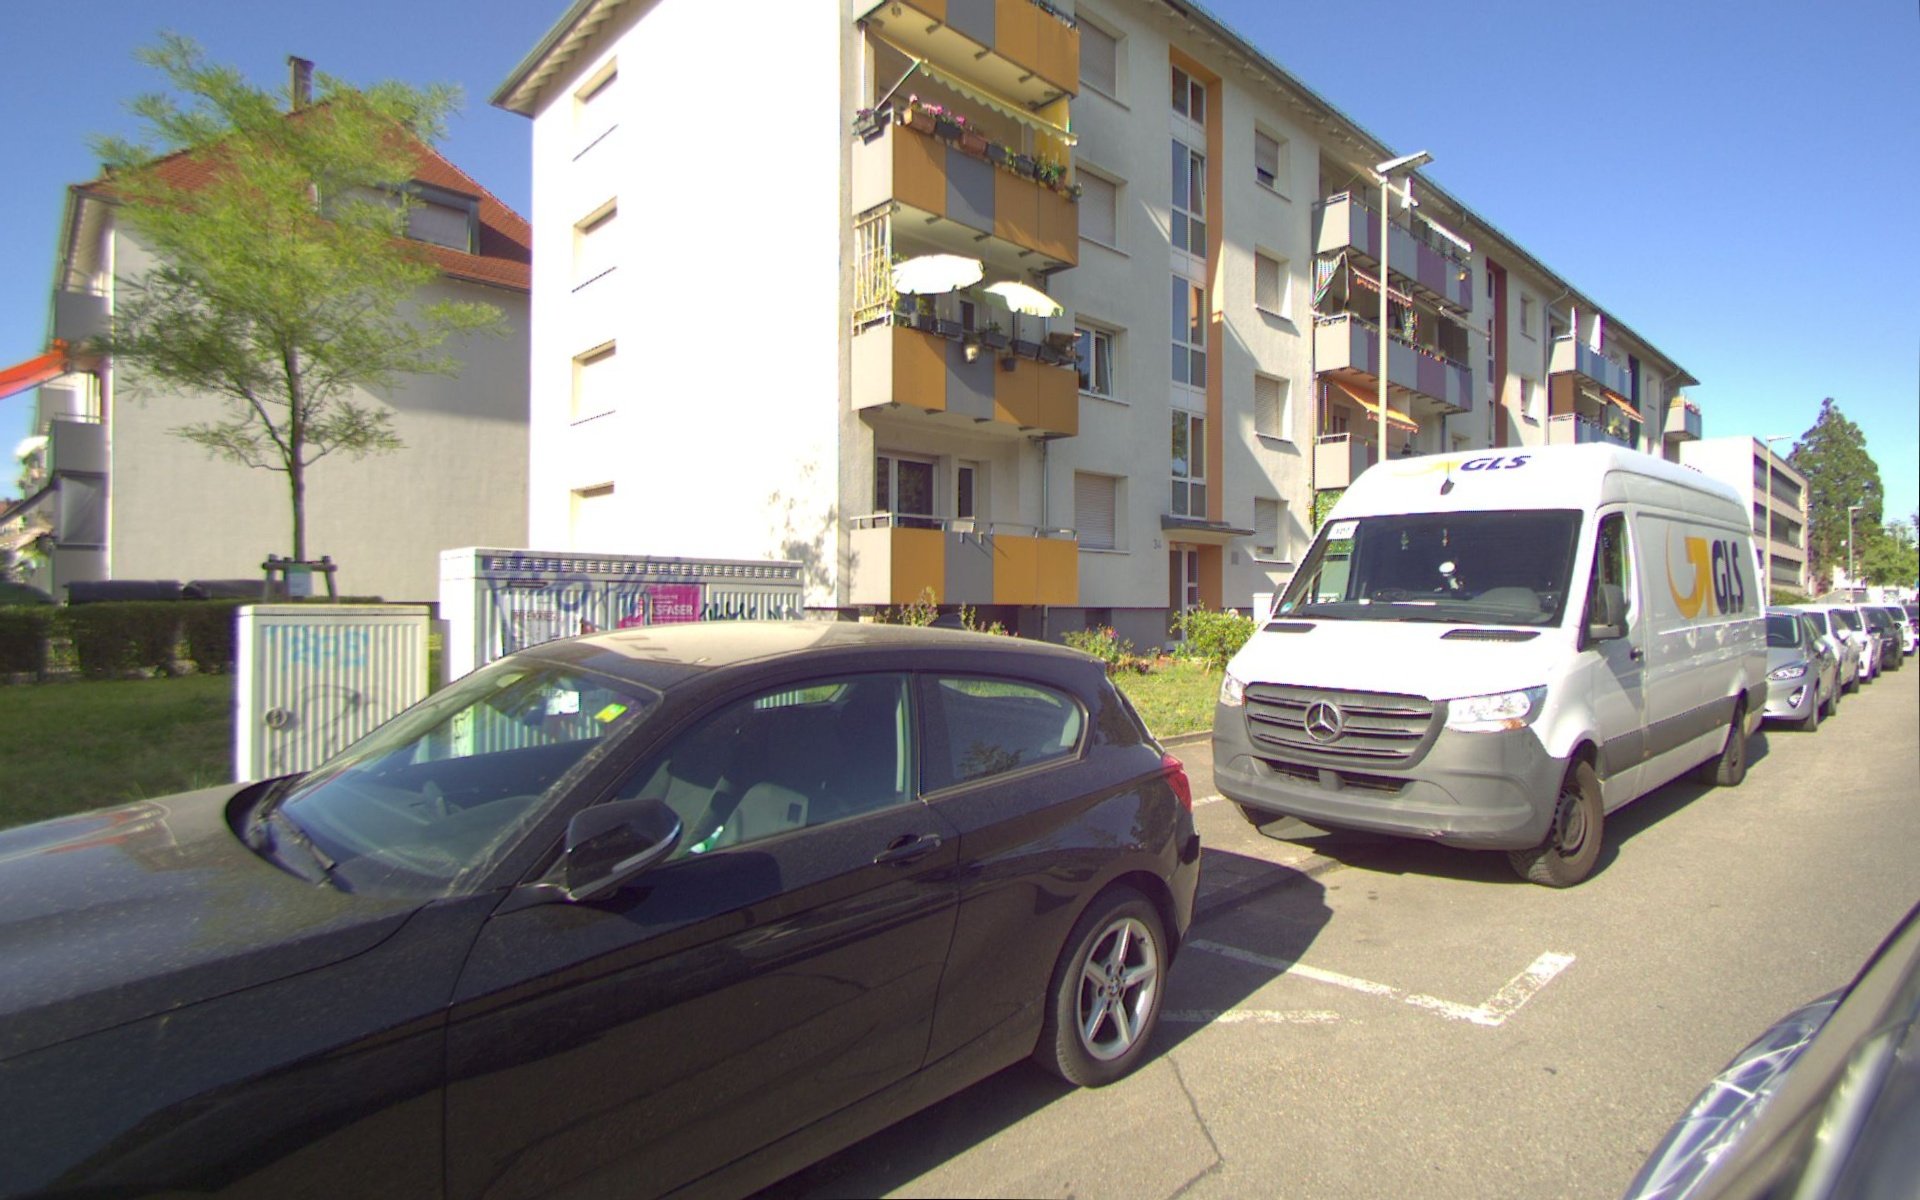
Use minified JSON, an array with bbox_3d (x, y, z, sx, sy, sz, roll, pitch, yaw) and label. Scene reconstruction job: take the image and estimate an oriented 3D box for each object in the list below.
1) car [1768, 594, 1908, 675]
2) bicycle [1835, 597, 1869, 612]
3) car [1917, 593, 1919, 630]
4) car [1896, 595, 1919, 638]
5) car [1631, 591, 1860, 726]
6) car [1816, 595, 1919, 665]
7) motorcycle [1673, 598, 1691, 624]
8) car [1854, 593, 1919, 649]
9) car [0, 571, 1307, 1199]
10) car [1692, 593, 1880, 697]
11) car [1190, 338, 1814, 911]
[{"bbox_3d":[17.523,0.608,20.141,4.083,1.454,1.723,0,0,-43],"label":"car"},{"bbox_3d":[73.329,0.362,83.213,0.868,1.076,2.027,0,3,-44],"label":"bicycle"},{"bbox_3d":[43.293,0.484,44.241,4.479,1.549,1.772,0,0,-42],"label":"car"},{"bbox_3d":[35.566,0.570,36.902,4.982,1.491,1.844,0,0,-44],"label":"car"},{"bbox_3d":[10.392,0.667,13.278,4.133,1.484,1.849,0,-1,-45],"label":"car"},{"bbox_3d":[21.445,0.634,23.762,1.700,1.453,4.399,2,2,45],"label":"car"},{"bbox_3d":[32.294,0.480,45.240,0.581,1.166,2.010,0,0,37],"label":"motorcycle"},{"bbox_3d":[27.461,0.572,29.686,1.747,1.518,3.801,1,1,43],"label":"car"},{"bbox_3d":[-0.968,0.696,2.942,4.425,1.500,1.960,0,2,-44],"label":"car"},{"bbox_3d":[13.607,0.637,16.590,4.070,1.494,1.880,0,0,-43],"label":"car"},{"bbox_3d":[4.684,0.084,7.917,6.724,2.747,2.146,0,1,-42],"label":"car"}]
